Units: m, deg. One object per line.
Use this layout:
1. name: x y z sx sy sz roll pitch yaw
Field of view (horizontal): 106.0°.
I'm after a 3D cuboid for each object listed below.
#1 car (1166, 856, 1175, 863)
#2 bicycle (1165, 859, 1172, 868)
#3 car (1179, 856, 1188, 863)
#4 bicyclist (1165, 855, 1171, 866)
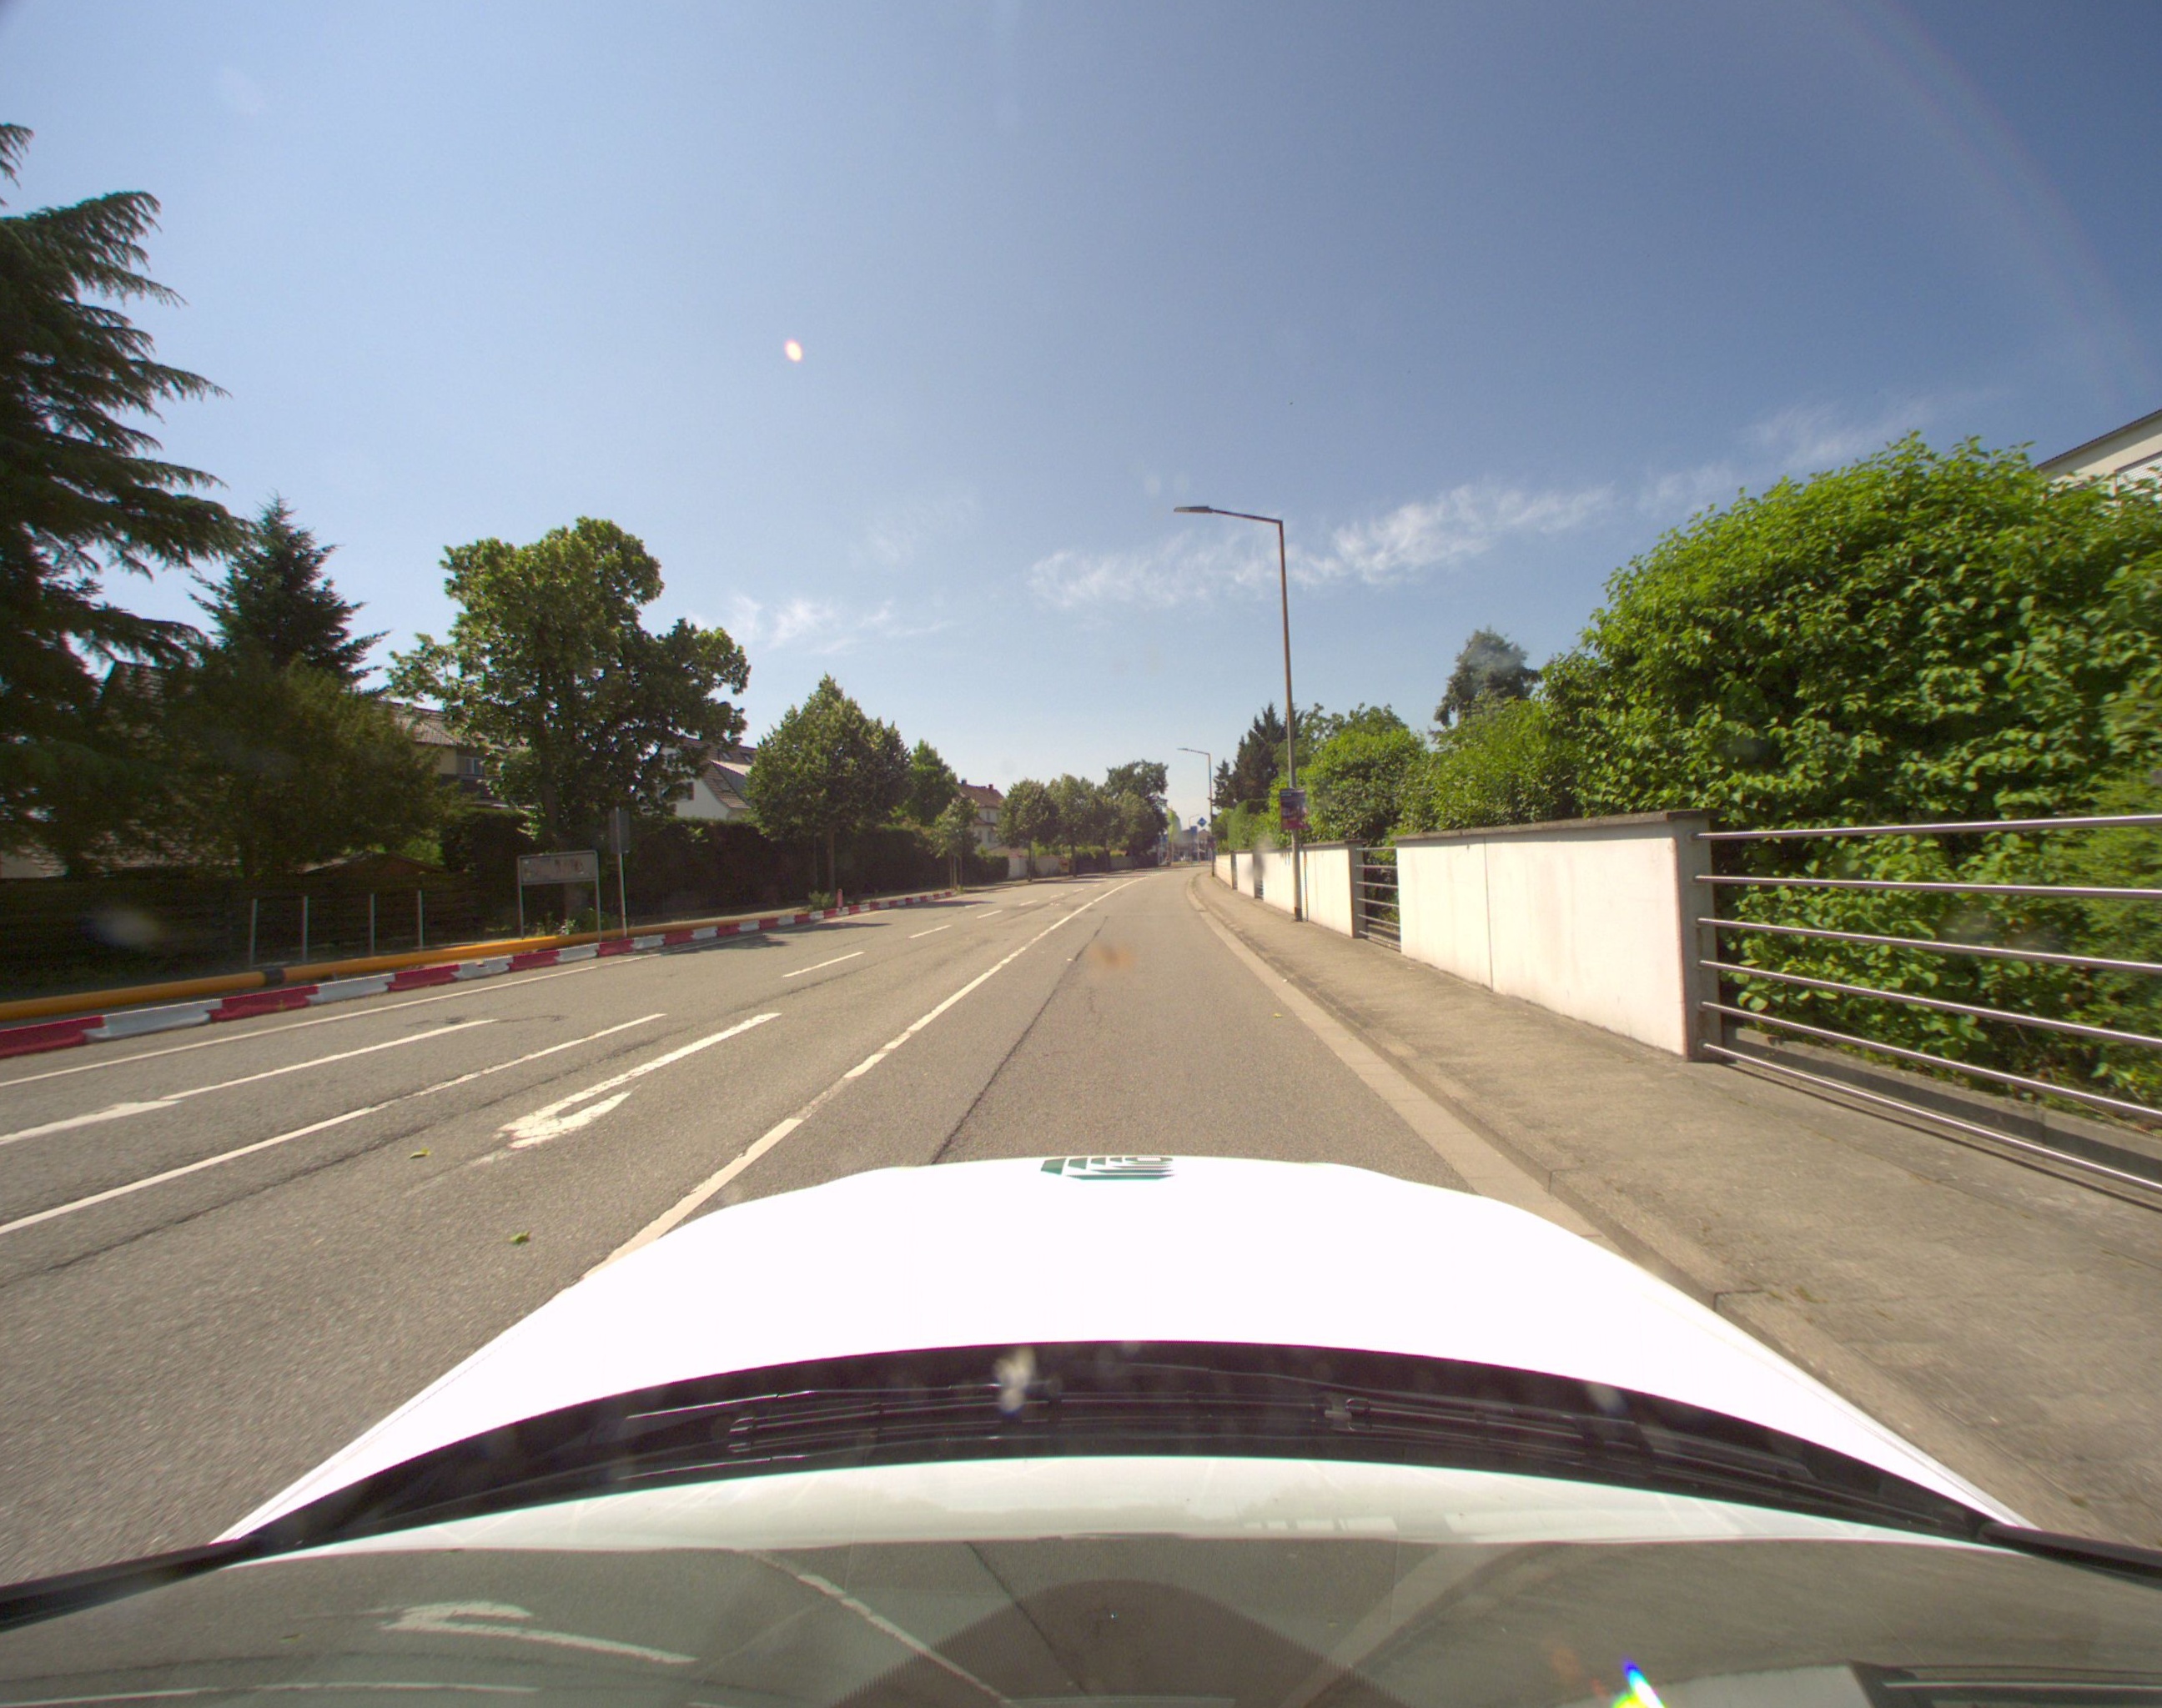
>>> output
1. car: 21.629 1.355 196.808 1.605 1.420 3.726 -4 -1 14
2. bicycle: 12.176 1.326 113.636 0.627 1.180 1.823 -3 -1 14
3. car: 24.825 1.272 196.303 1.605 1.420 3.726 -4 -1 14
4. bicyclist: 12.140 0.887 113.562 0.624 1.409 0.679 -3 -1 14
